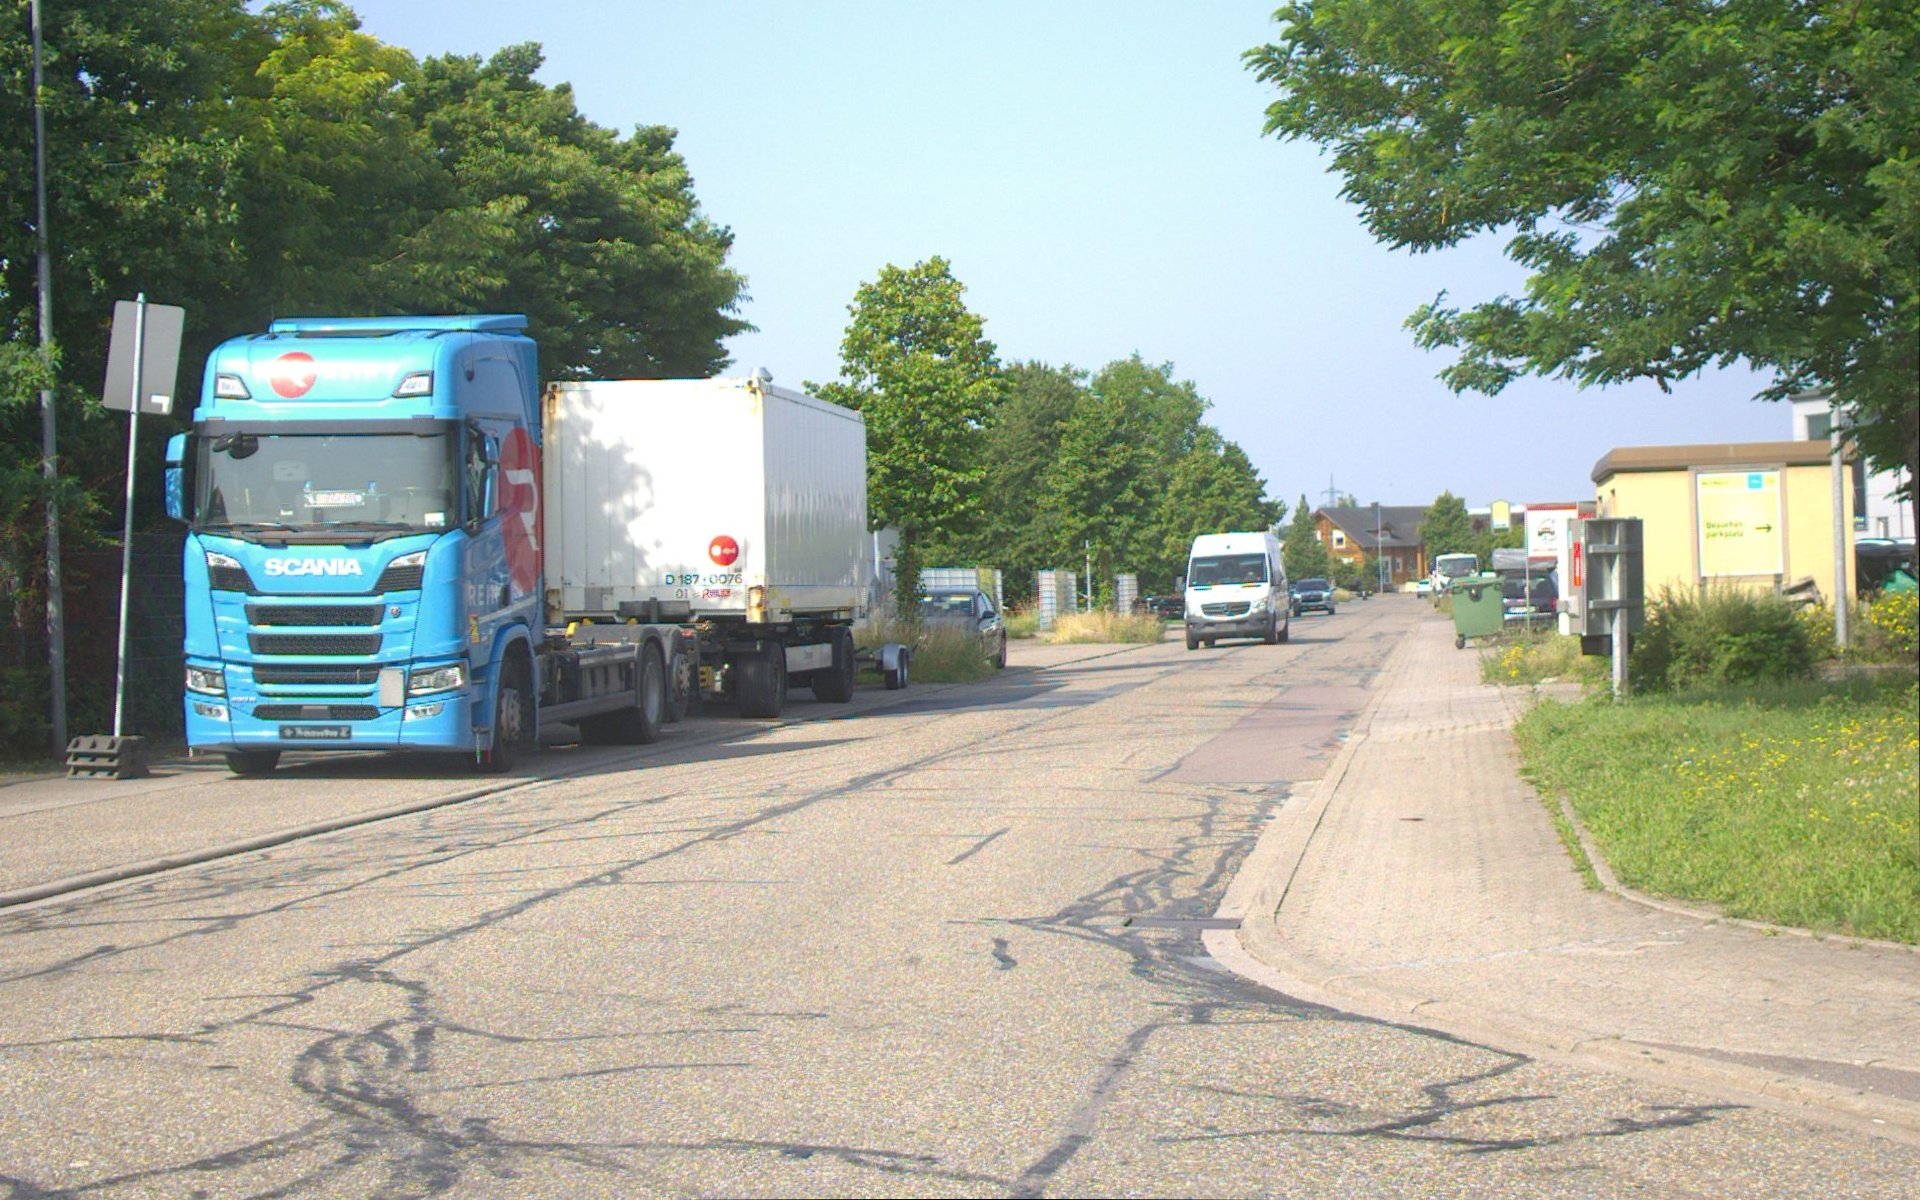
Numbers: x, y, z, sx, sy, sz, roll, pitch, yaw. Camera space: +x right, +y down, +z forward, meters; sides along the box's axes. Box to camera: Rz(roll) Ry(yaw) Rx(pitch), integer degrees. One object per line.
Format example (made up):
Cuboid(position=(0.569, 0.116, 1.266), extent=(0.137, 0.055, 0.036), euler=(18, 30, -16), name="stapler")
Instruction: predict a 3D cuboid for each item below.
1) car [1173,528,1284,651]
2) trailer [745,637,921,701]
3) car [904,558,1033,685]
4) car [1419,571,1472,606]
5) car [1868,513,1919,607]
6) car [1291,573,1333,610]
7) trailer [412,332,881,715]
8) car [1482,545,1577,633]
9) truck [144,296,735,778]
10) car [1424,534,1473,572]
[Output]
Cuboid(position=(6.055, -0.215, 78.164), extent=(2.214, 2.677, 6.852), euler=(0, 0, 2), name="car")
Cuboid(position=(-1.793, 0.984, 49.804), extent=(1.897, 0.758, 3.999), euler=(-2, 0, 7), name="trailer")
Cuboid(position=(0.103, 0.336, 57.677), extent=(1.993, 2.007, 4.000), euler=(-2, 0, -1), name="car")
Cuboid(position=(20.867, -0.478, 147.784), extent=(1.786, 1.490, 3.745), euler=(0, 0, 1), name="car")
Cuboid(position=(17.206, -0.679, 61.329), extent=(1.718, 1.612, 3.998), euler=(0, 0, 12), name="car")
Cuboid(position=(15.916, -0.374, 155.470), extent=(1.639, 1.656, 4.000), euler=(0, 0, 2), name="car")
Cuboid(position=(-3.299, -0.739, 40.484), extent=(2.832, 3.830, 12.032), euler=(0, 0, 8), name="trailer")
Cuboid(position=(11.632, -0.216, 70.387), extent=(1.792, 1.744, 3.999), euler=(0, 0, 7), name="car")
Cuboid(position=(-4.476, -0.477, 32.184), extent=(2.826, 3.813, 9.669), euler=(0, 0, 8), name="truck")
Cuboid(position=(24.243, -2.341, 170.752), extent=(1.771, 1.809, 4.000), euler=(0, 0, -1), name="car")
